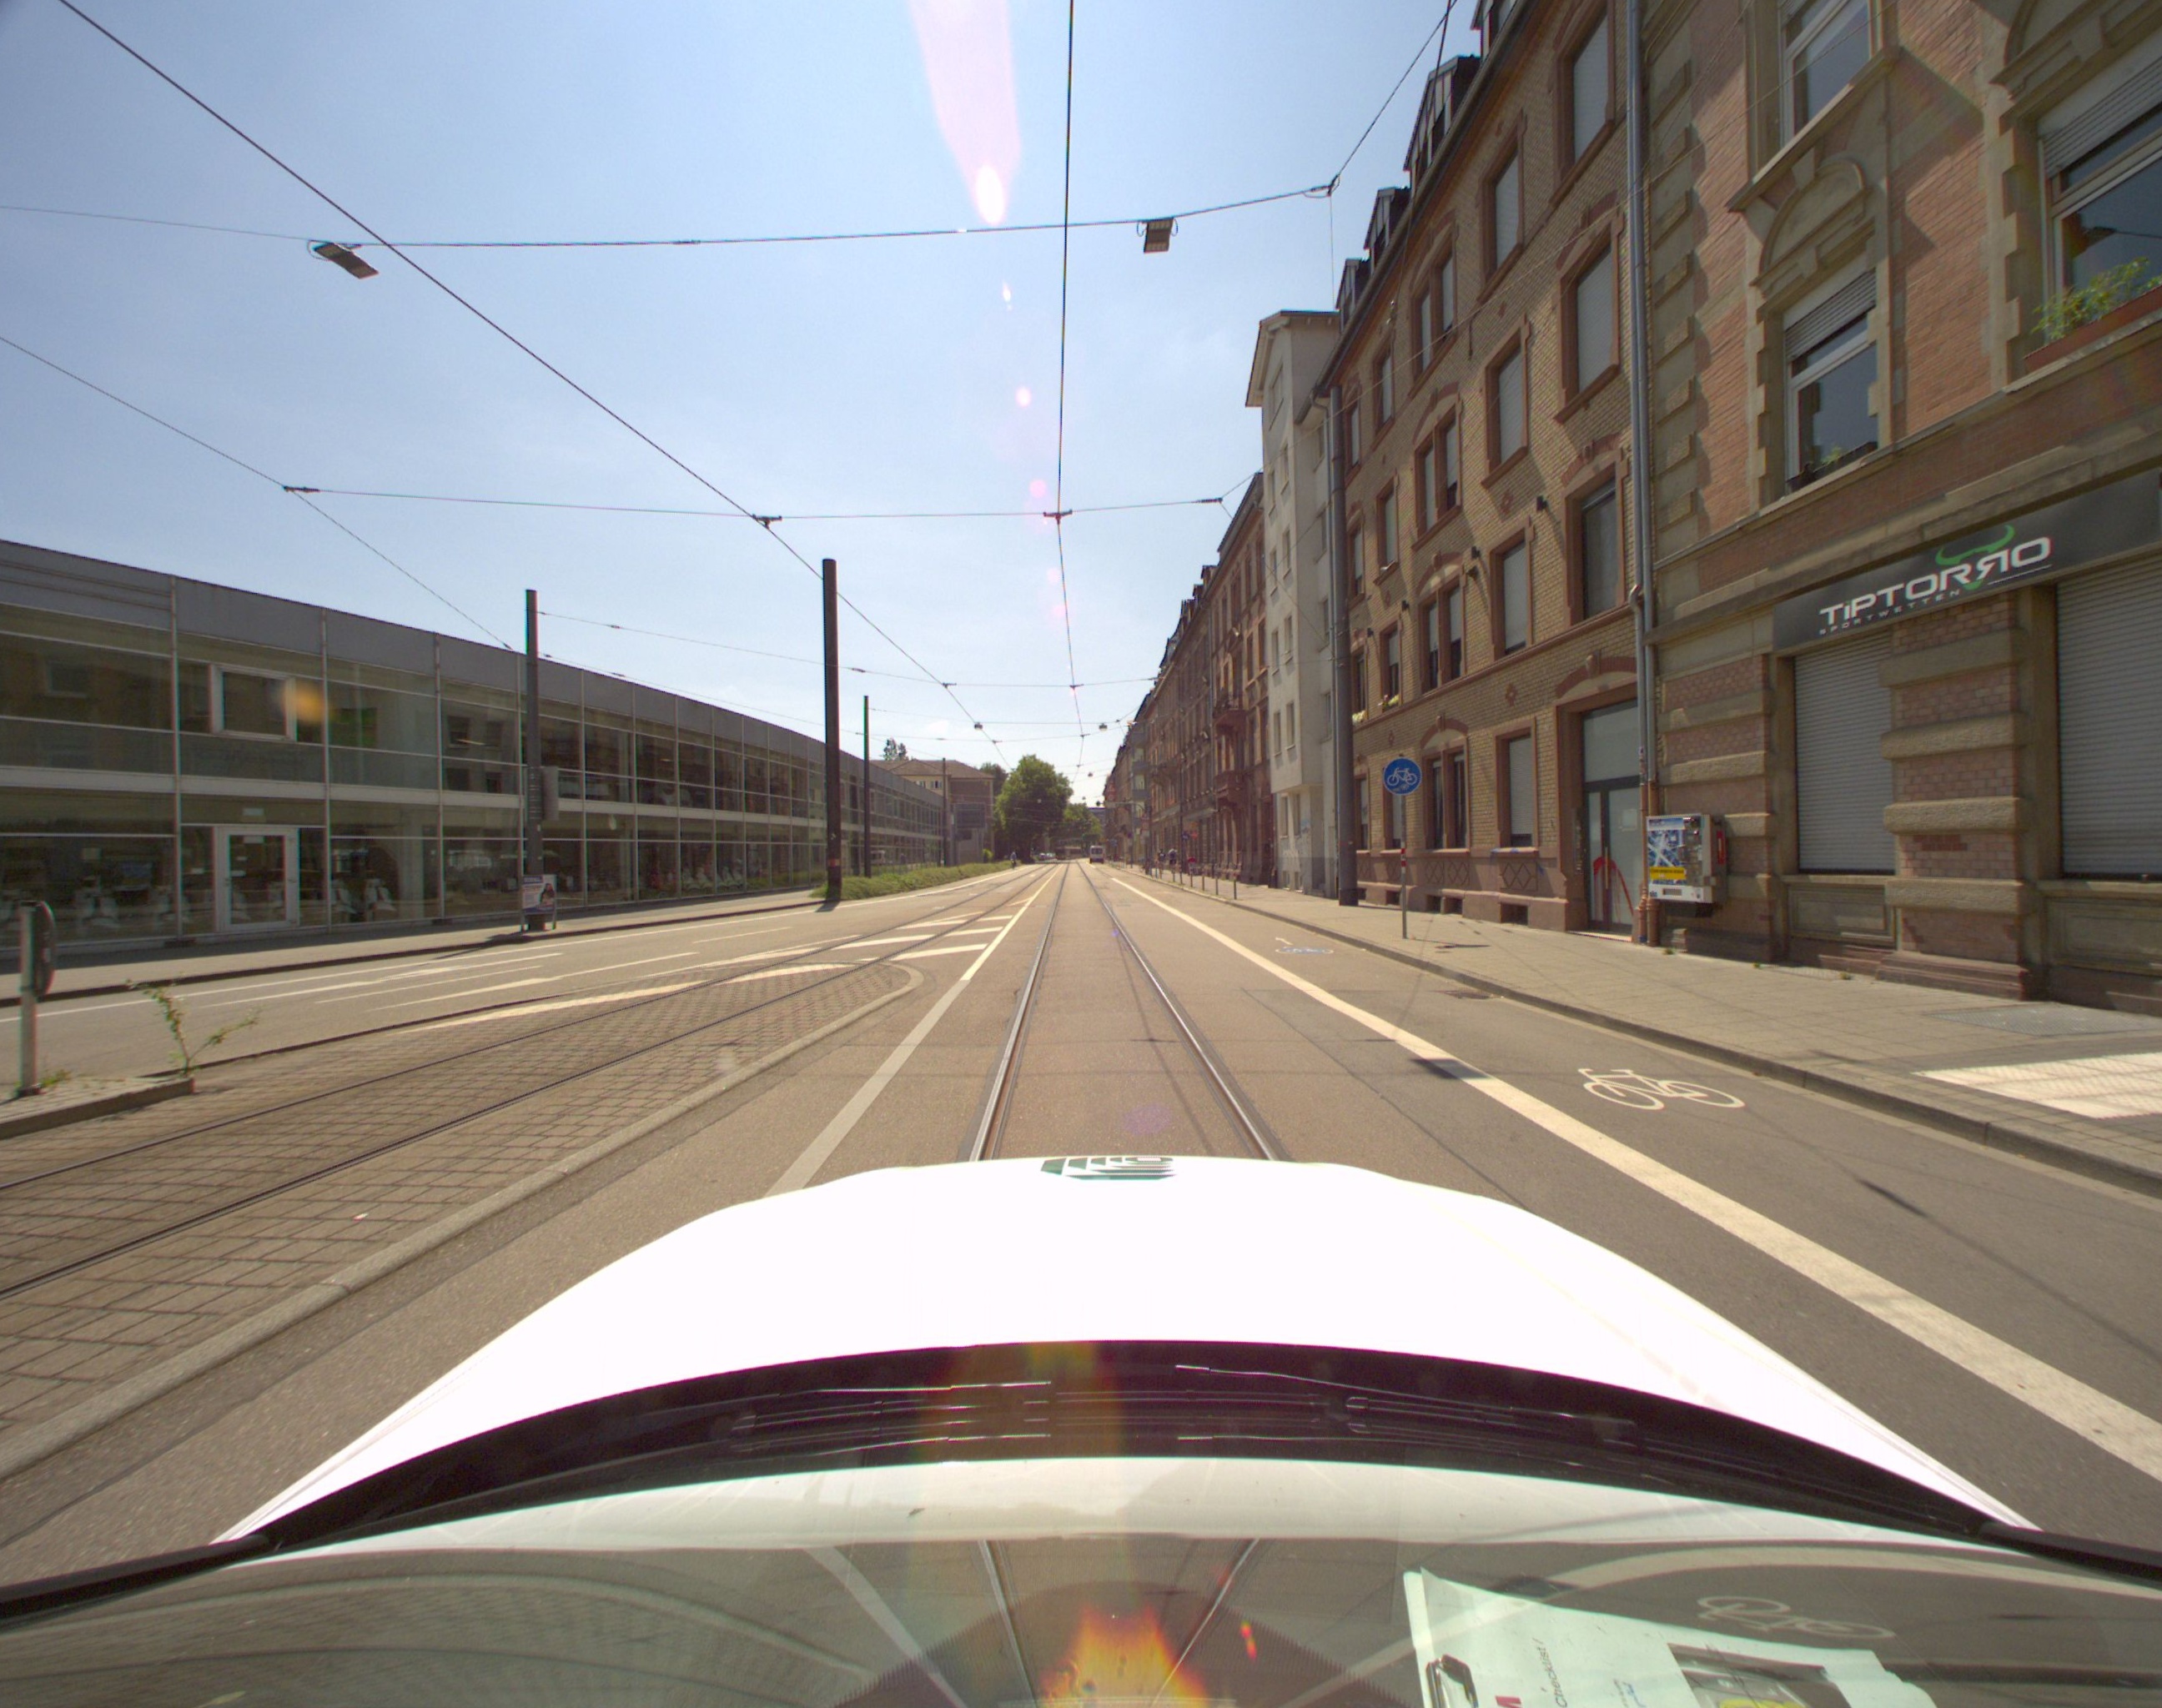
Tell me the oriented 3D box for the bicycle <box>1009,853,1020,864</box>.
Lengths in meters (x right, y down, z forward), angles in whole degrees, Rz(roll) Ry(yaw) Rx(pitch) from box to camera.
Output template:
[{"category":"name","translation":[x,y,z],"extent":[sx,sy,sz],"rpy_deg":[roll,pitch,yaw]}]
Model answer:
[{"category":"bicycle","translation":[-7.092,0.499,86.595],"extent":[0.694,1.144,2.499],"rpy_deg":[-2,0,6]}]

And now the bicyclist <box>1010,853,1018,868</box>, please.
[{"category":"bicyclist","translation":[-7.112,0.711,86.424],"extent":[0.694,1.548,0.981],"rpy_deg":[-2,0,6]}]

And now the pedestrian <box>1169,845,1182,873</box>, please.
[{"category":"pedestrian","translation":[6.580,0.335,56.631],"extent":[0.700,1.848,0.643],"rpy_deg":[-5,0,0]}]

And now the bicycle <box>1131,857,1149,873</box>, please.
[{"category":"bicycle","translation":[4.593,0.846,63.401],"extent":[0.494,1.130,2.257],"rpy_deg":[-2,0,28]}]

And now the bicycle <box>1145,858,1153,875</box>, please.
[{"category":"bicycle","translation":[4.651,0.848,55.706],"extent":[0.445,1.097,2.426],"rpy_deg":[-2,0,5]}]

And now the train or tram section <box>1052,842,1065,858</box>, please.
[{"category":"train or tram section","translation":[-5.275,-0.842,193.615],"extent":[2.952,3.580,13.417],"rpy_deg":[-1,0,-1]}]

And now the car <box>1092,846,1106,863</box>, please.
[{"category":"car","translation":[2.577,0.058,117.634],"extent":[2.060,2.501,5.454],"rpy_deg":[0,0,0]}]

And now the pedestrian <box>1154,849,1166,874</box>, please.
[{"category":"pedestrian","translation":[5.492,0.534,56.747],"extent":[0.718,1.720,0.643],"rpy_deg":[-2,0,0]}]
